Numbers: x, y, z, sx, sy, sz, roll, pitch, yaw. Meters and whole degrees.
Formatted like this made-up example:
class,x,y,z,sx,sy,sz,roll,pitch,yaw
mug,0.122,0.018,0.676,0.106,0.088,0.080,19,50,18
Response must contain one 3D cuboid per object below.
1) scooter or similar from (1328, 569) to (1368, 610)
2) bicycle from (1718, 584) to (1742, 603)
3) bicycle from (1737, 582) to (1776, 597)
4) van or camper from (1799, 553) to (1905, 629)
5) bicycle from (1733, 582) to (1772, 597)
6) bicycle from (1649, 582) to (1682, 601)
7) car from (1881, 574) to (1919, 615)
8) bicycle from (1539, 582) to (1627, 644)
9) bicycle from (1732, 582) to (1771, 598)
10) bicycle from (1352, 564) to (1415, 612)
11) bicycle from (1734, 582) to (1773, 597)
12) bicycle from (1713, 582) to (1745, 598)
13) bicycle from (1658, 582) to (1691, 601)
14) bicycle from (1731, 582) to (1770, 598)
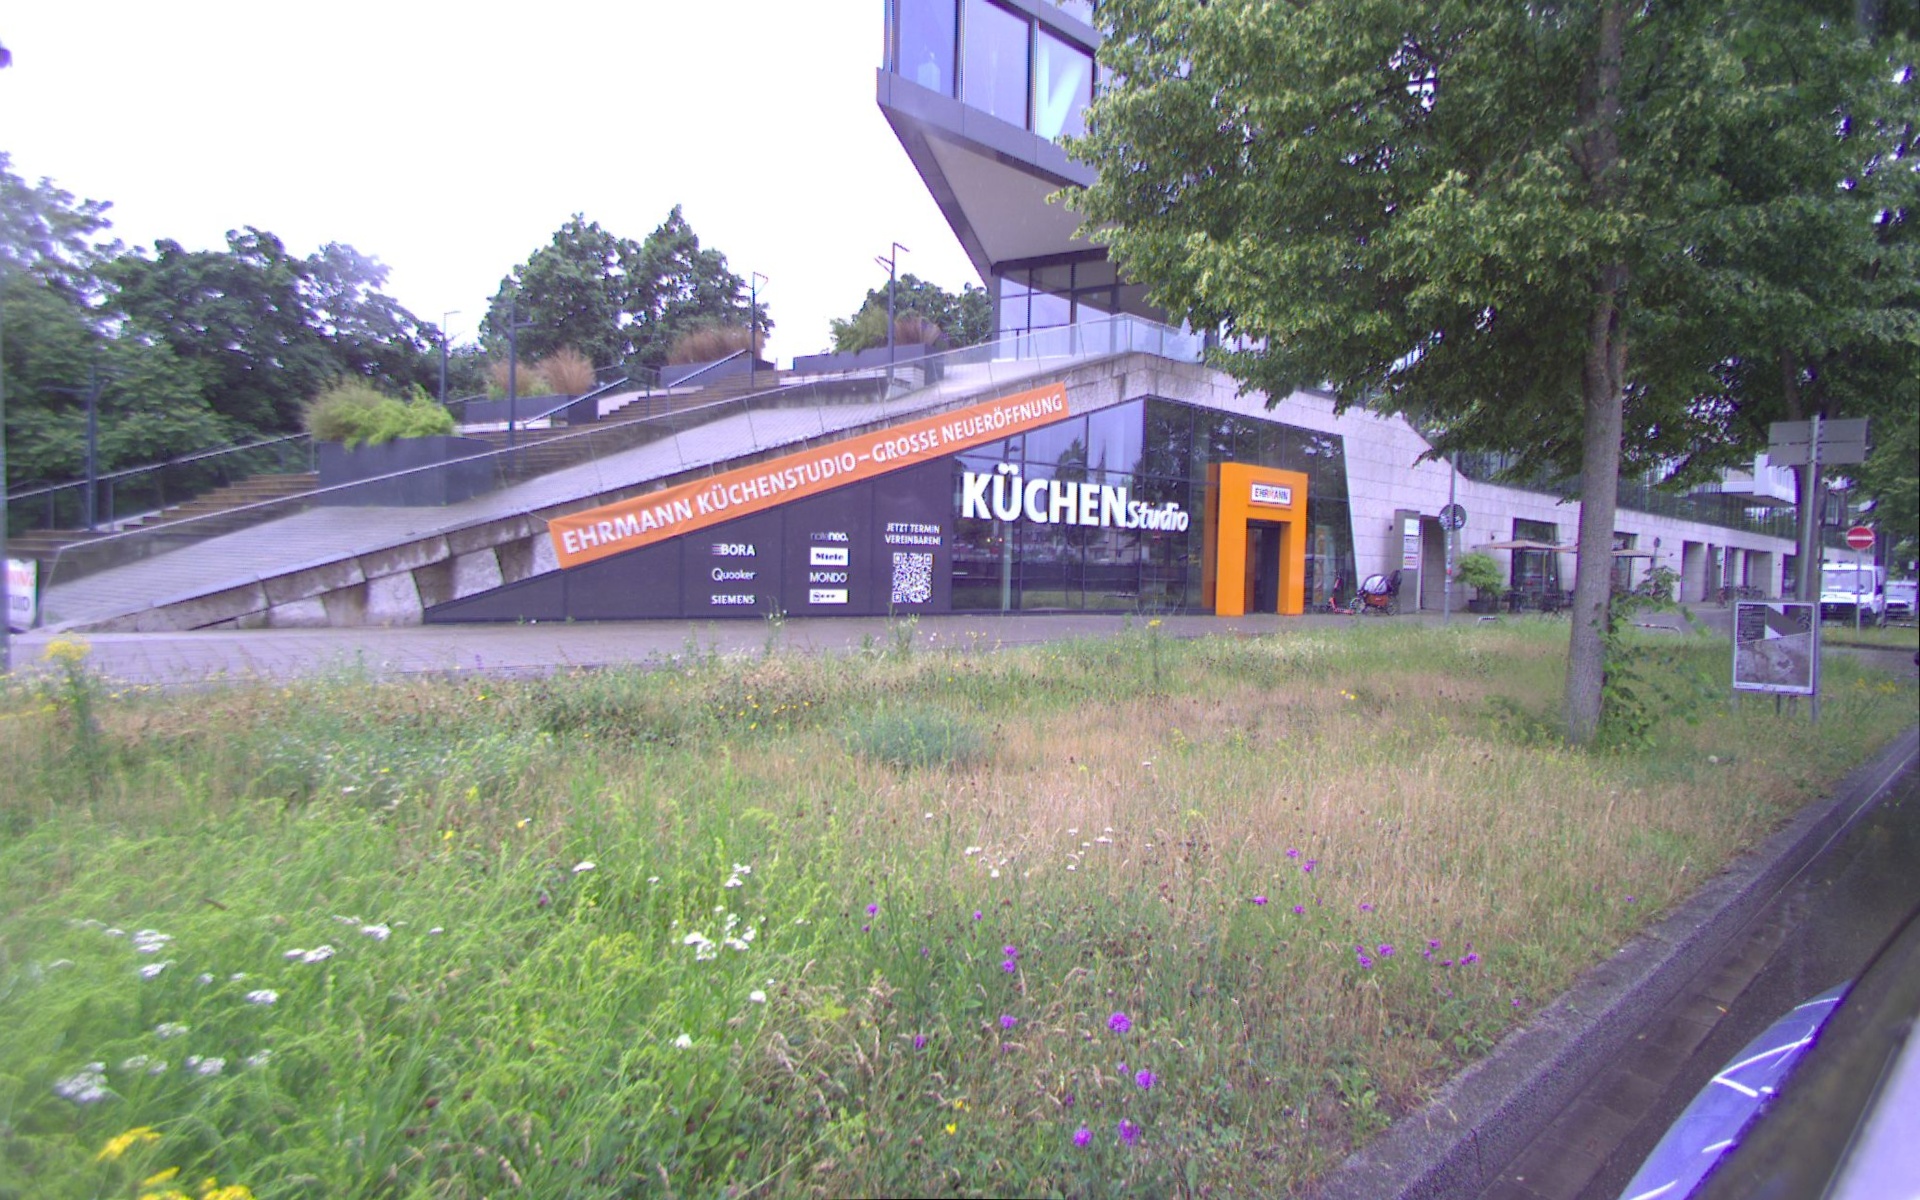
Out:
class,x,y,z,sx,sy,sz,roll,pitch,yaw
scooter or similar,11.774,-0.325,30.675,1.214,1.243,0.343,-1,0,-22
bicycle,40.140,-0.332,52.768,1.823,0.957,0.403,-1,2,-34
bicycle,54.769,-0.739,69.579,0.389,0.957,2.025,-1,4,-45
van or camper,29.644,-0.358,33.577,5.367,2.320,2.028,-1,2,-42
bicycle,53.499,-0.707,68.304,0.389,0.957,2.025,-1,4,-45
bicycle,36.617,-0.441,52.533,0.388,0.958,2.028,-1,1,4
car,43.293,-0.271,45.903,4.766,1.781,1.744,-1,2,-42
bicycle,14.588,0.281,23.752,0.521,1.363,1.852,2,1,-16
bicycle,53.095,-0.699,67.887,0.389,0.957,2.025,-1,4,-45
bicycle,13.266,-0.372,31.664,2.382,1.419,0.734,0,3,-41
bicycle,53.894,-0.728,68.716,0.389,0.957,2.025,-1,4,-45
bicycle,49.501,-0.655,65.135,0.339,0.957,1.665,0,3,-22
bicycle,37.232,-0.452,52.751,0.388,0.958,2.028,-1,1,4
bicycle,52.609,-0.688,67.365,0.389,0.957,2.025,-1,4,-45
